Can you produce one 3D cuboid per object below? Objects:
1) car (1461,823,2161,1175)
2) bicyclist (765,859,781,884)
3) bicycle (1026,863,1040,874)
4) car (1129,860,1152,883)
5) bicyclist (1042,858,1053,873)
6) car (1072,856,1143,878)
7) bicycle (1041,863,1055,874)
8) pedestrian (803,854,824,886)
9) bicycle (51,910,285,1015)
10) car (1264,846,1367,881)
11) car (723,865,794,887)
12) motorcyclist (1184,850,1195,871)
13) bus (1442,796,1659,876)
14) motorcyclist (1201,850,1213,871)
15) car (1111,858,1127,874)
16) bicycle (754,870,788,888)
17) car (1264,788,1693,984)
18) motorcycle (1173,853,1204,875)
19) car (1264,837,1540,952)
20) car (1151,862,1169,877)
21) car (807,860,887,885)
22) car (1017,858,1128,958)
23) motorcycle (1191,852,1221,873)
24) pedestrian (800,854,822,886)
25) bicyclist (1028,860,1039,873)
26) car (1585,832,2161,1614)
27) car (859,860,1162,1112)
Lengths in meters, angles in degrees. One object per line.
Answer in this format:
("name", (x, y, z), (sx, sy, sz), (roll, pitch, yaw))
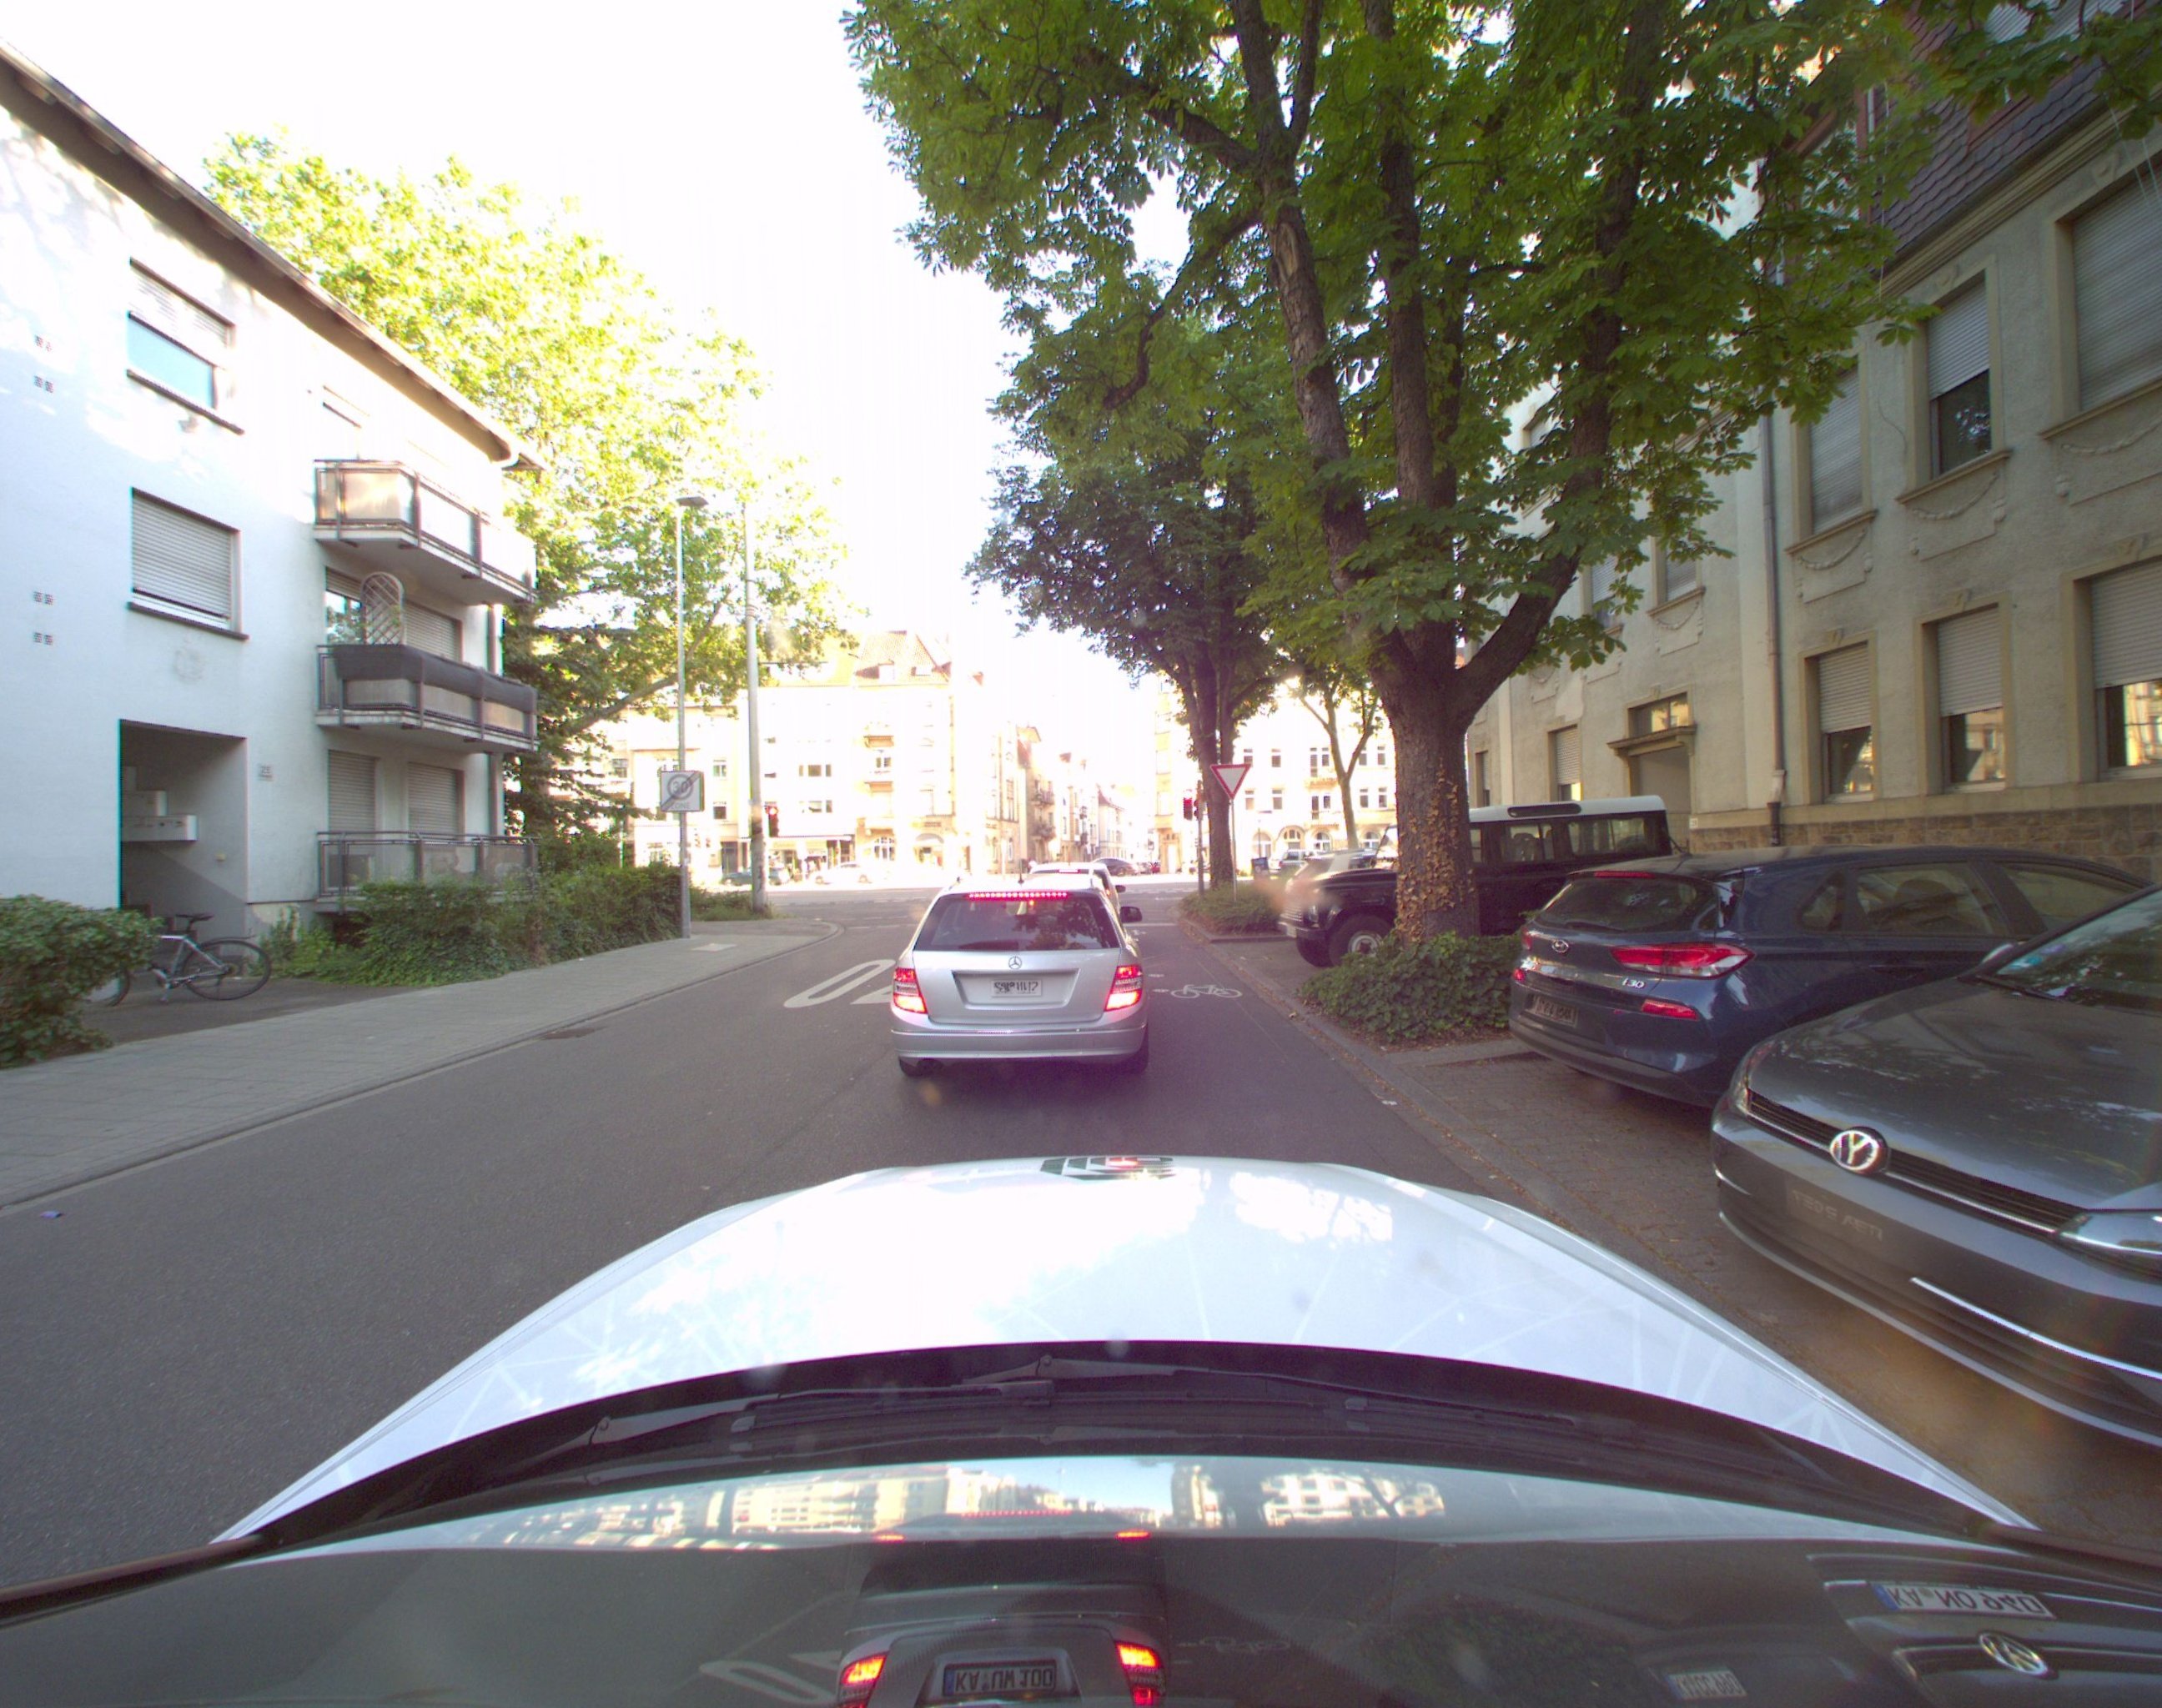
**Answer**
("car", (4.397, 0.628, 4.558), (3.714, 1.452, 1.707), (-3, -1, -2))
("bicyclist", (-22.883, 1.300, 60.467), (0.889, 1.859, 0.636), (-1, 0, -3))
("bicycle", (-4.328, 1.335, 73.648), (0.765, 0.940, 1.947), (-1, 0, 13))
("car", (6.301, 1.817, 85.904), (2.018, 2.279, 4.012), (-1, 0, 10))
("bicyclist", (-3.011, 1.024, 73.707), (0.765, 1.290, 0.755), (-1, 0, 13))
("car", (1.822, 0.902, 57.185), (4.871, 1.452, 1.857), (-1, 0, -2))
("bicycle", (-3.006, 1.318, 73.704), (0.765, 0.934, 1.947), (-1, 0, 13))
("pedestrian", (-21.467, 1.279, 65.402), (1.343, 2.464, 1.059), (-1, 0, -3))
("bicycle", (-9.996, 1.153, 9.009), (1.630, 1.008, 0.511), (2, -2, -39))
("car", (10.924, 0.418, 38.122), (4.338, 1.497, 1.658), (-1, 0, -5))
("car", (-22.015, 1.516, 55.699), (4.212, 1.349, 1.662), (-1, 0, -4))
("motorcyclist", (7.566, 0.438, 56.772), (0.679, 1.452, 0.568), (-2, 0, -2))
("bus", (20.633, -0.784, 36.015), (8.166, 3.201, 2.905), (-2, 0, -7))
("motorcyclist", (9.009, 0.475, 58.293), (0.679, 1.452, 0.568), (-2, 0, -2))
("car", (5.474, 1.723, 117.401), (1.776, 2.204, 4.012), (-1, 0, 10))
("bicycle", (-23.028, 1.838, 60.452), (2.251, 1.246, 0.636), (-1, 0, -3))
("car", (4.740, 0.362, 10.132), (4.453, 2.036, 1.700), (-3, -1, -2))
("motorcycle", (7.477, 0.704, 56.765), (2.028, 1.452, 0.568), (-2, 0, -3))
("car", (5.029, 0.612, 13.092), (3.714, 1.570, 1.707), (-3, -1, -2))
("car", (9.870, 1.912, 101.860), (1.824, 1.744, 4.012), (-1, 0, 10))
("car", (-15.255, 1.212, 53.353), (4.694, 1.460, 1.834), (-2, 0, -4))
("car", (-0.109, 0.807, 14.173), (1.614, 1.447, 4.344), (-1, 0, 0))
("motorcycle", (8.927, 0.616, 58.288), (2.028, 1.452, 0.568), (-2, 0, -3))
("pedestrian", (-21.319, 1.261, 64.364), (1.343, 2.464, 1.059), (-1, 0, -3))
("bicyclist", (-4.311, 1.113, 73.727), (0.765, 1.156, 0.755), (-1, 0, 13))
("car", (4.032, 0.644, 2.386), (4.042, 1.452, 1.722), (-3, -1, -2))
("car", (-0.403, 0.789, 7.085), (1.771, 1.452, 4.547), (-1, 0, 0))
